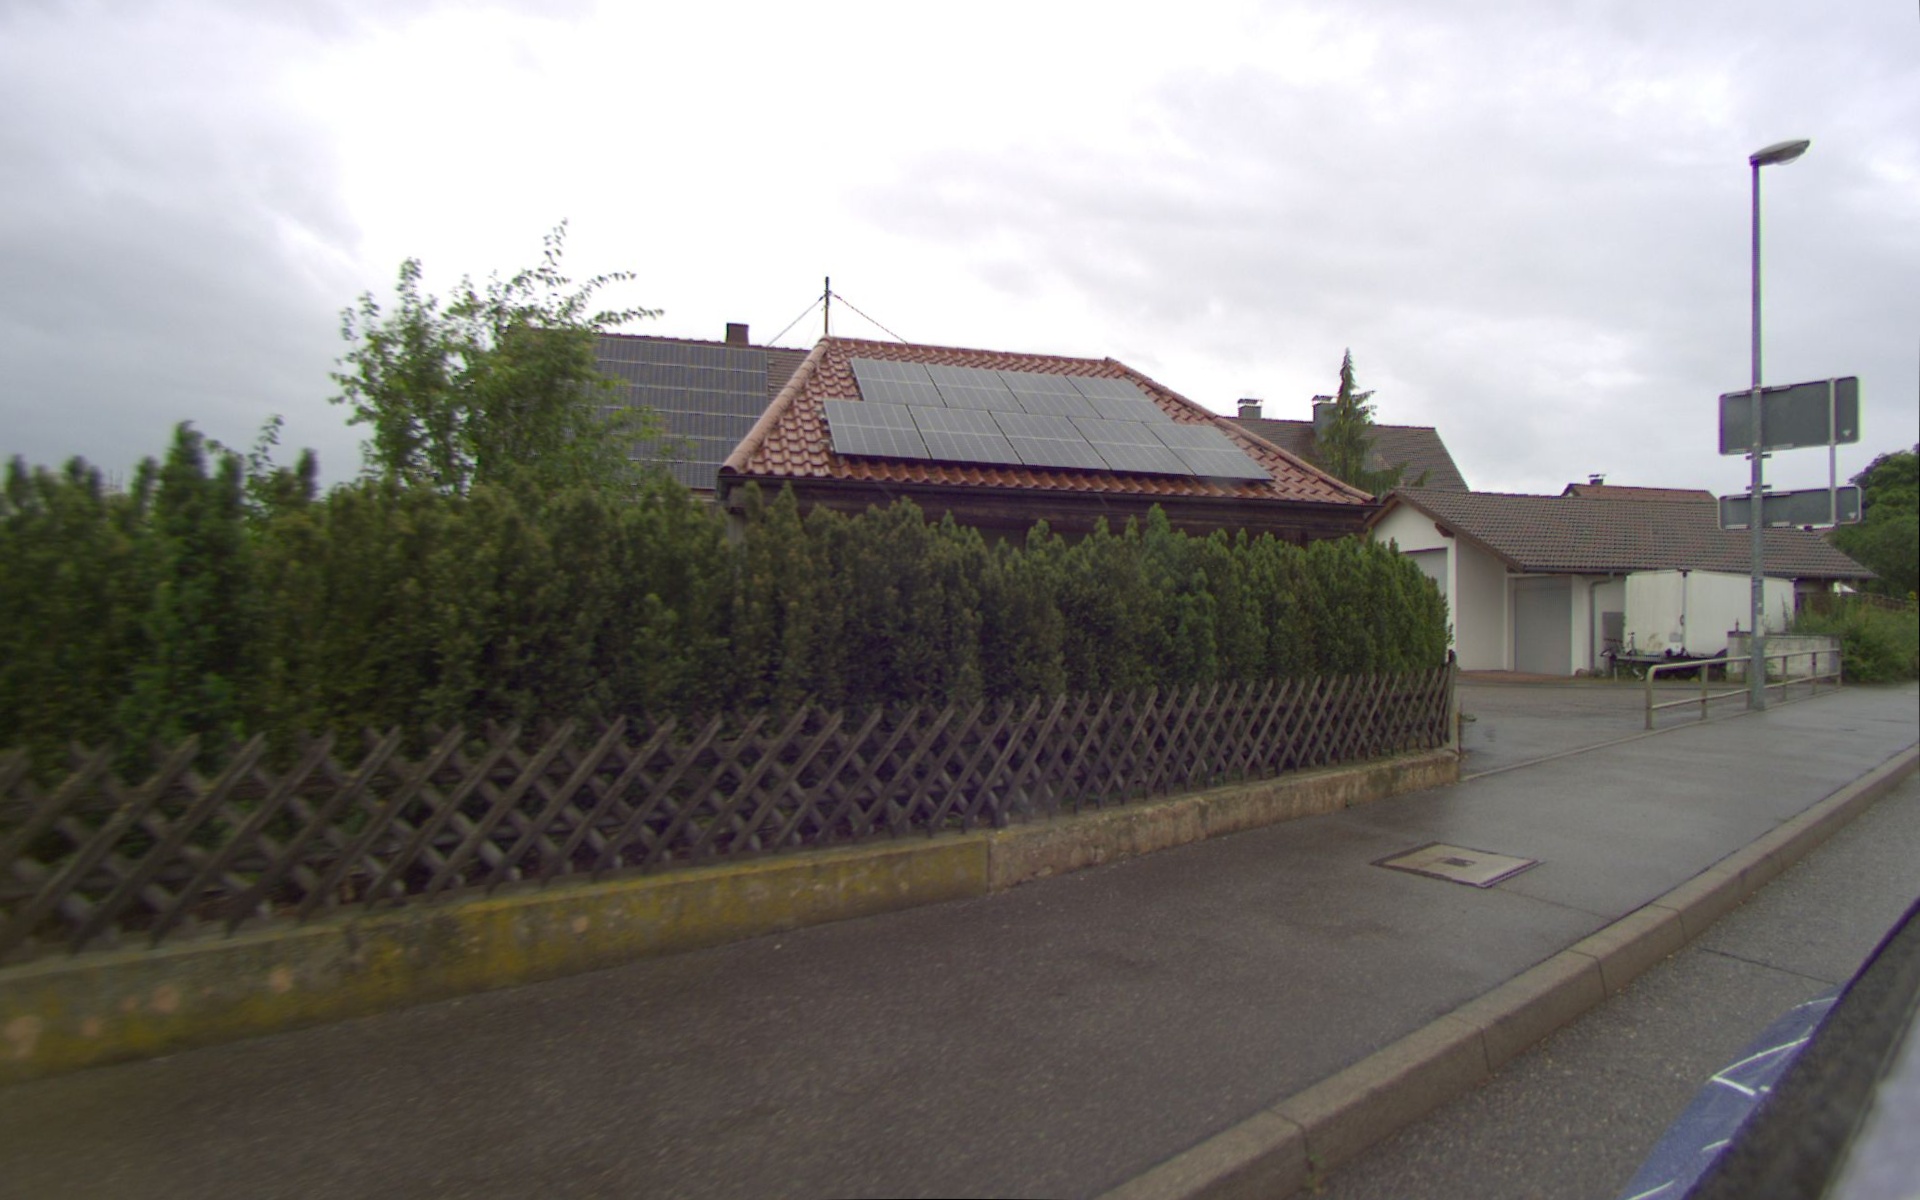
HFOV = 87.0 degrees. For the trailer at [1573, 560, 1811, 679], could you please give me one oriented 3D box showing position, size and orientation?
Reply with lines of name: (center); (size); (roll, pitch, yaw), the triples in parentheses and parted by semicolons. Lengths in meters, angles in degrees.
trailer: (16.561, 0.437, 22.959); (4.606, 2.550, 1.652); (1, -1, -11)
